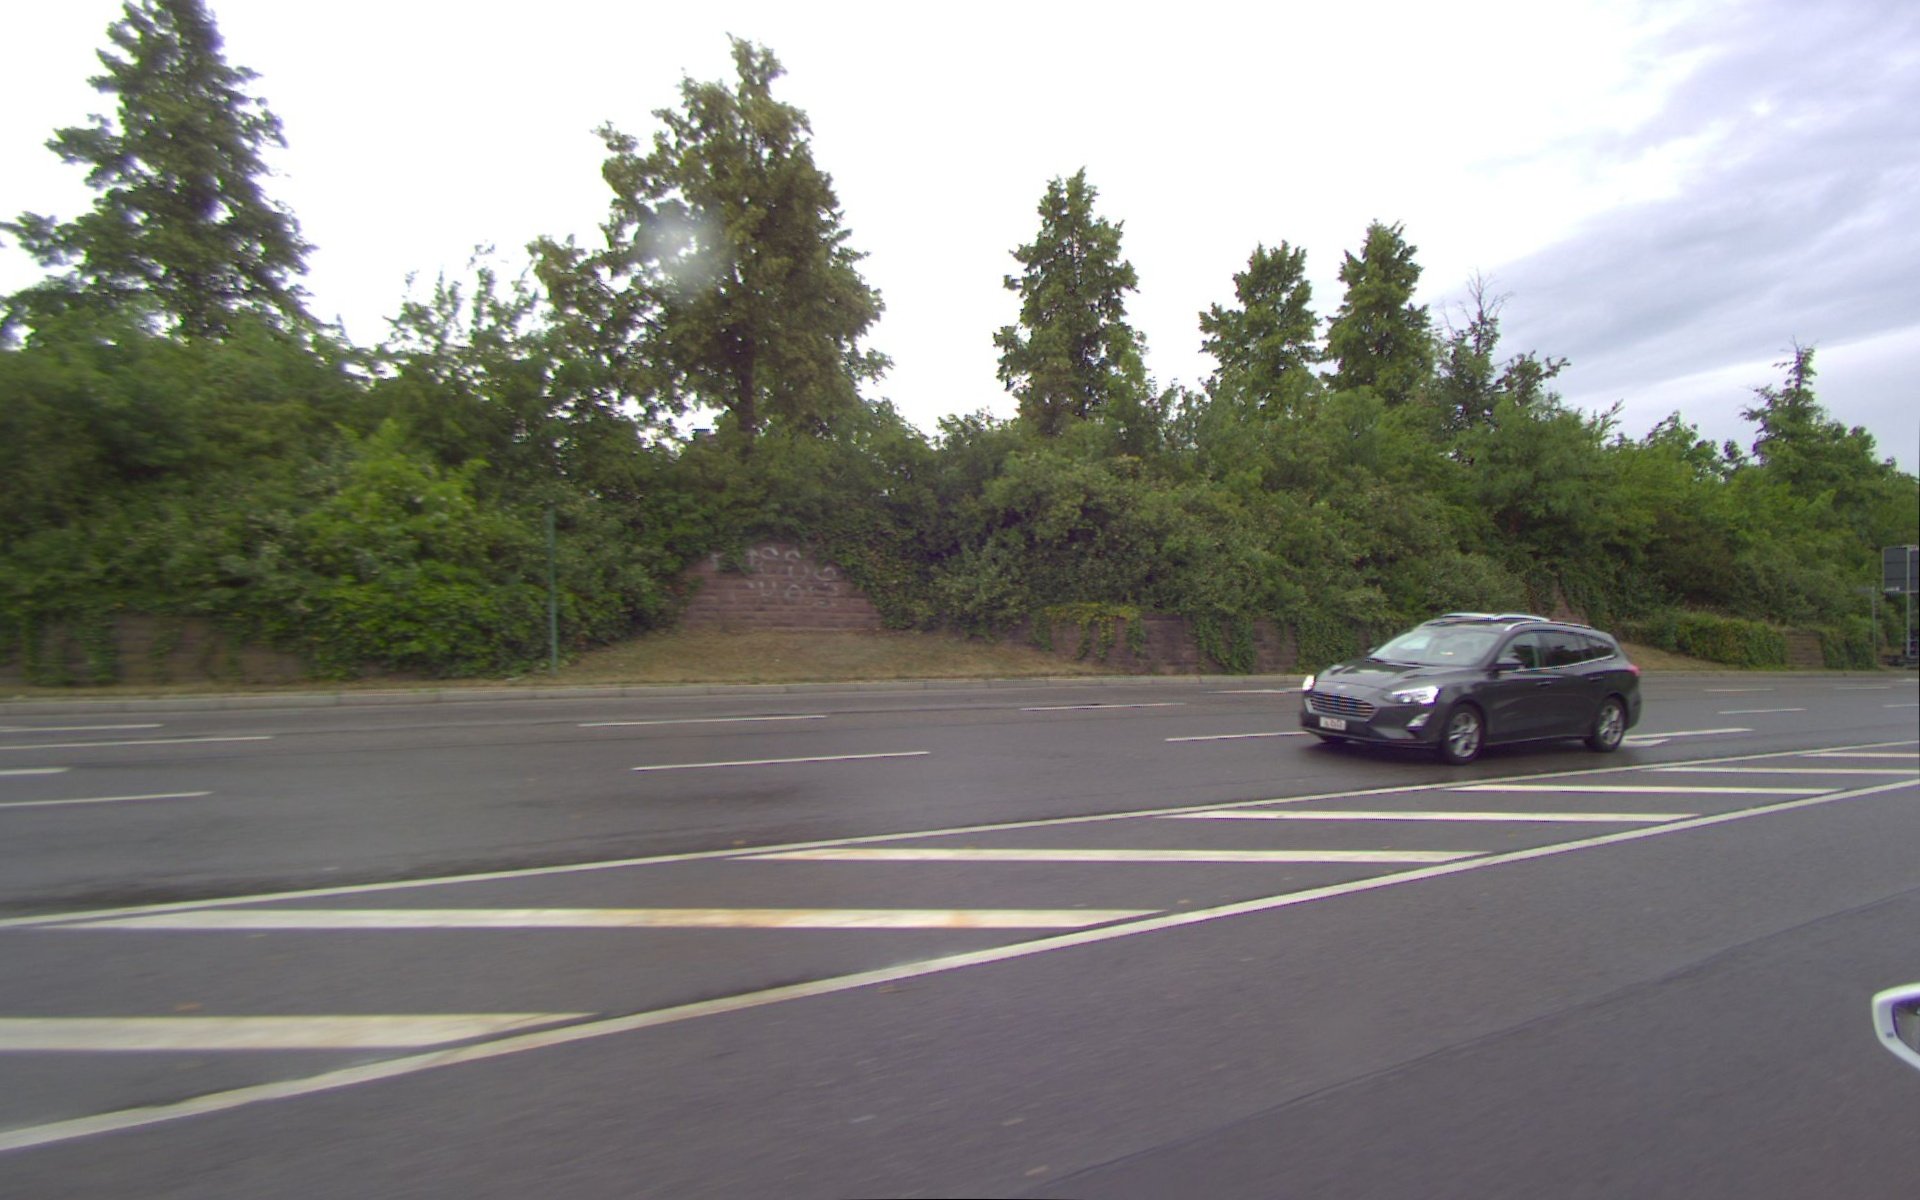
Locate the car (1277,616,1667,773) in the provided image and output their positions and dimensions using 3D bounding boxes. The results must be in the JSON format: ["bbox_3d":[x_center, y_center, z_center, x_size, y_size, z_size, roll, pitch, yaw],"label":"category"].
[{"bbox_3d":[5.964,0.963,11.576,4.588,1.491,1.770,1,-1,-29],"label":"car"}]

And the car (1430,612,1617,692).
[{"bbox_3d":[12.344,1.090,21.970,3.950,1.612,1.717,1,-1,-28],"label":"car"}]
